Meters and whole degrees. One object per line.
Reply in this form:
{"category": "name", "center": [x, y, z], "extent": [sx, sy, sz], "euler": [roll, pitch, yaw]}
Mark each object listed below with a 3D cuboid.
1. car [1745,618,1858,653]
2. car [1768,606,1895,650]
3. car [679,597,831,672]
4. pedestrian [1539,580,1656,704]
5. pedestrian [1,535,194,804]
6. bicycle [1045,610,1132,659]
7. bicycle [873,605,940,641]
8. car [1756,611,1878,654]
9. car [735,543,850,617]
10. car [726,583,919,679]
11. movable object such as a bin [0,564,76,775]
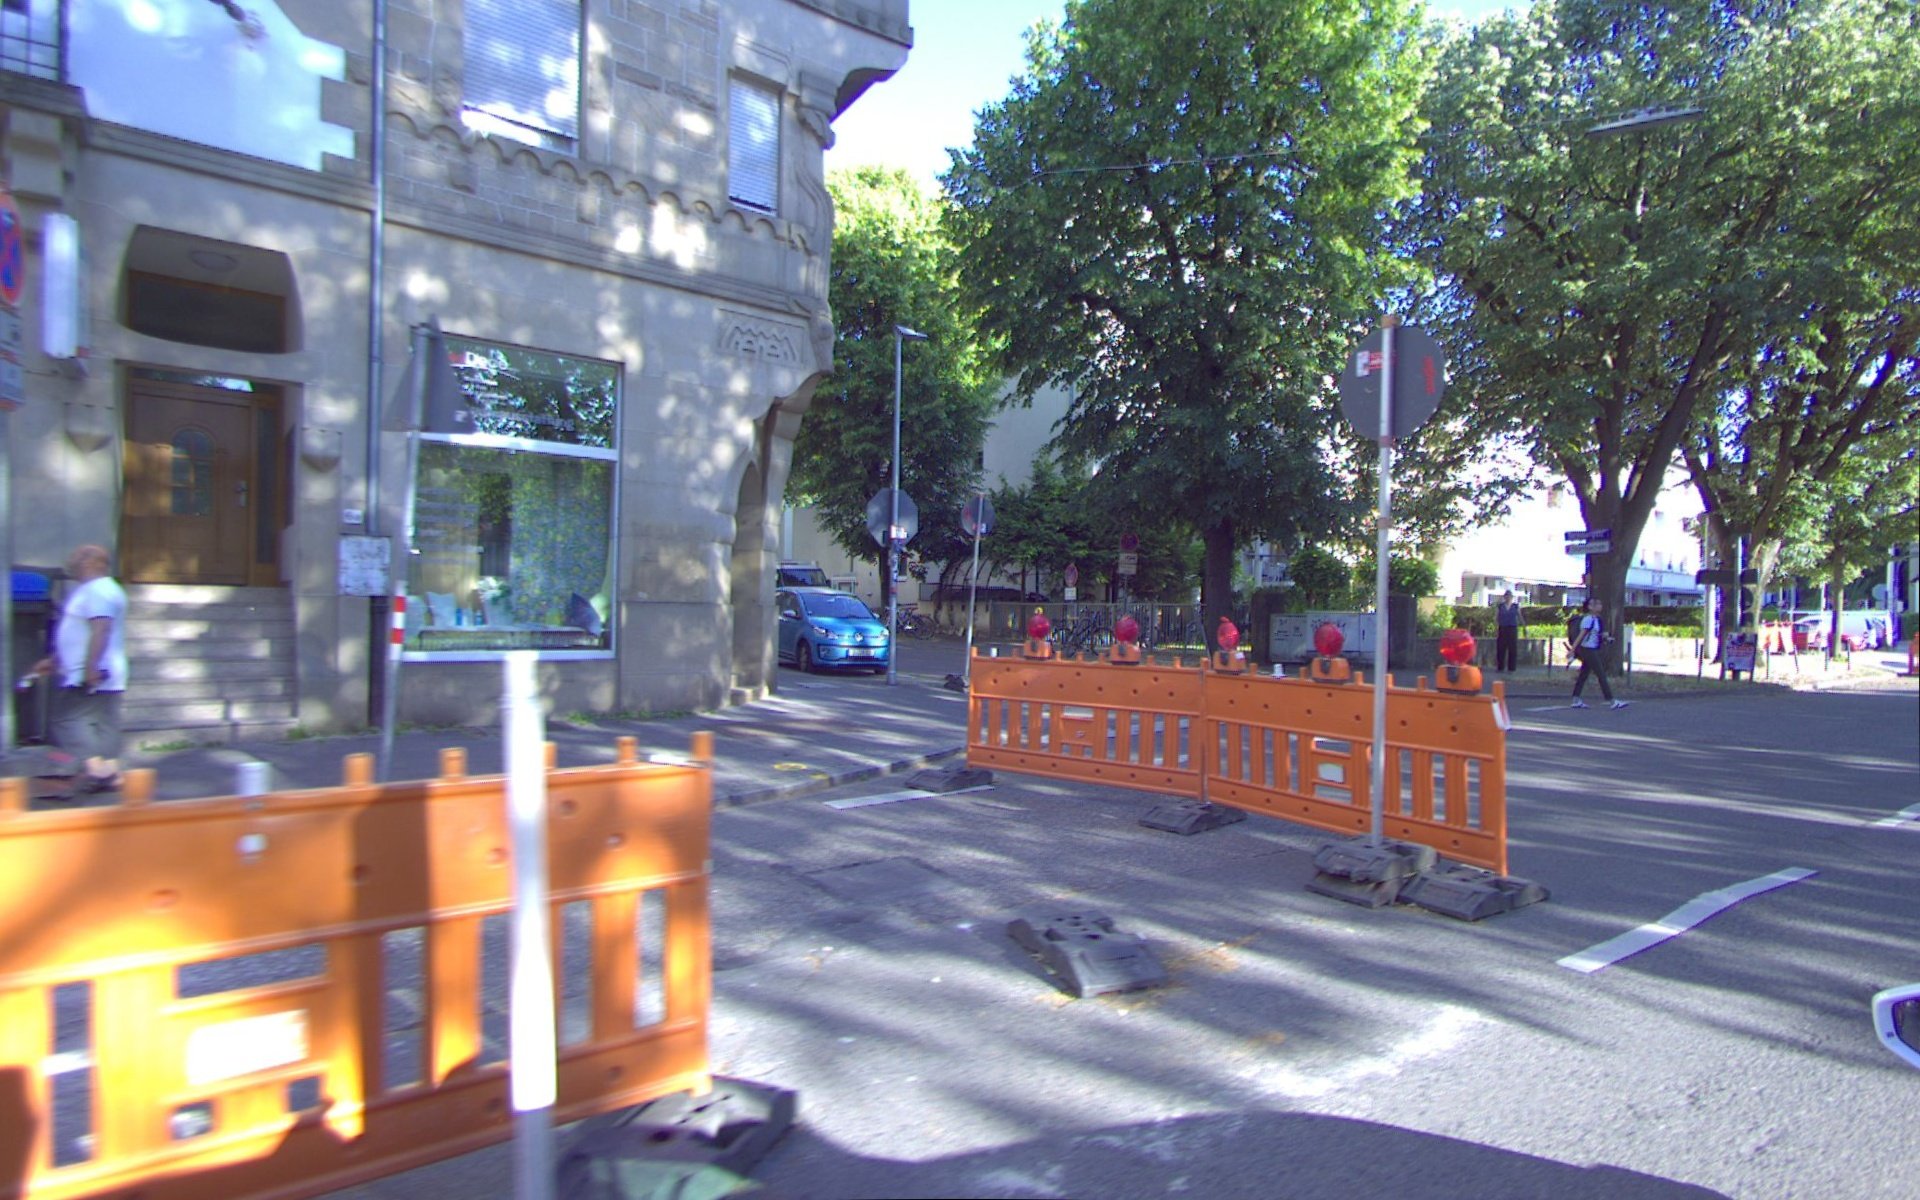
{"category": "car", "center": [40.979, 1.708, 48.981], "extent": [1.984, 1.499, 3.956], "euler": [1, 1, -40]}
{"category": "car", "center": [45.265, 1.401, 52.237], "extent": [2.099, 1.991, 4.630], "euler": [1, 1, -38]}
{"category": "car", "center": [-4.709, 0.719, 22.711], "extent": [1.980, 1.506, 3.961], "euler": [1, 0, -34]}
{"category": "pedestrian", "center": [9.757, 0.625, 15.390], "extent": [1.177, 1.805, 1.038], "euler": [1, 0, -29]}
{"category": "pedestrian", "center": [-5.710, 0.414, 6.667], "extent": [0.911, 1.625, 0.813], "euler": [1, 2, -43]}
{"category": "bicycle", "center": [3.029, 0.811, 23.705], "extent": [1.907, 1.091, 0.743], "euler": [2, 1, -25]}
{"category": "bicycle", "center": [-1.655, 0.716, 31.076], "extent": [1.902, 1.023, 0.925], "euler": [2, 1, -17]}
{"category": "car", "center": [43.021, 1.612, 50.516], "extent": [1.979, 1.876, 4.287], "euler": [1, 1, -33]}
{"category": "car", "center": [-6.550, -0.717, 38.787], "extent": [2.433, 2.599, 5.202], "euler": [1, 0, -34]}
{"category": "car", "center": [-2.656, 0.515, 18.615], "extent": [1.980, 1.572, 3.961], "euler": [1, 0, -34]}
{"category": "movable object such as a bin", "center": [-7.212, 0.463, 7.143], "extent": [1.334, 1.450, 1.073], "euler": [1, 1, -40]}
